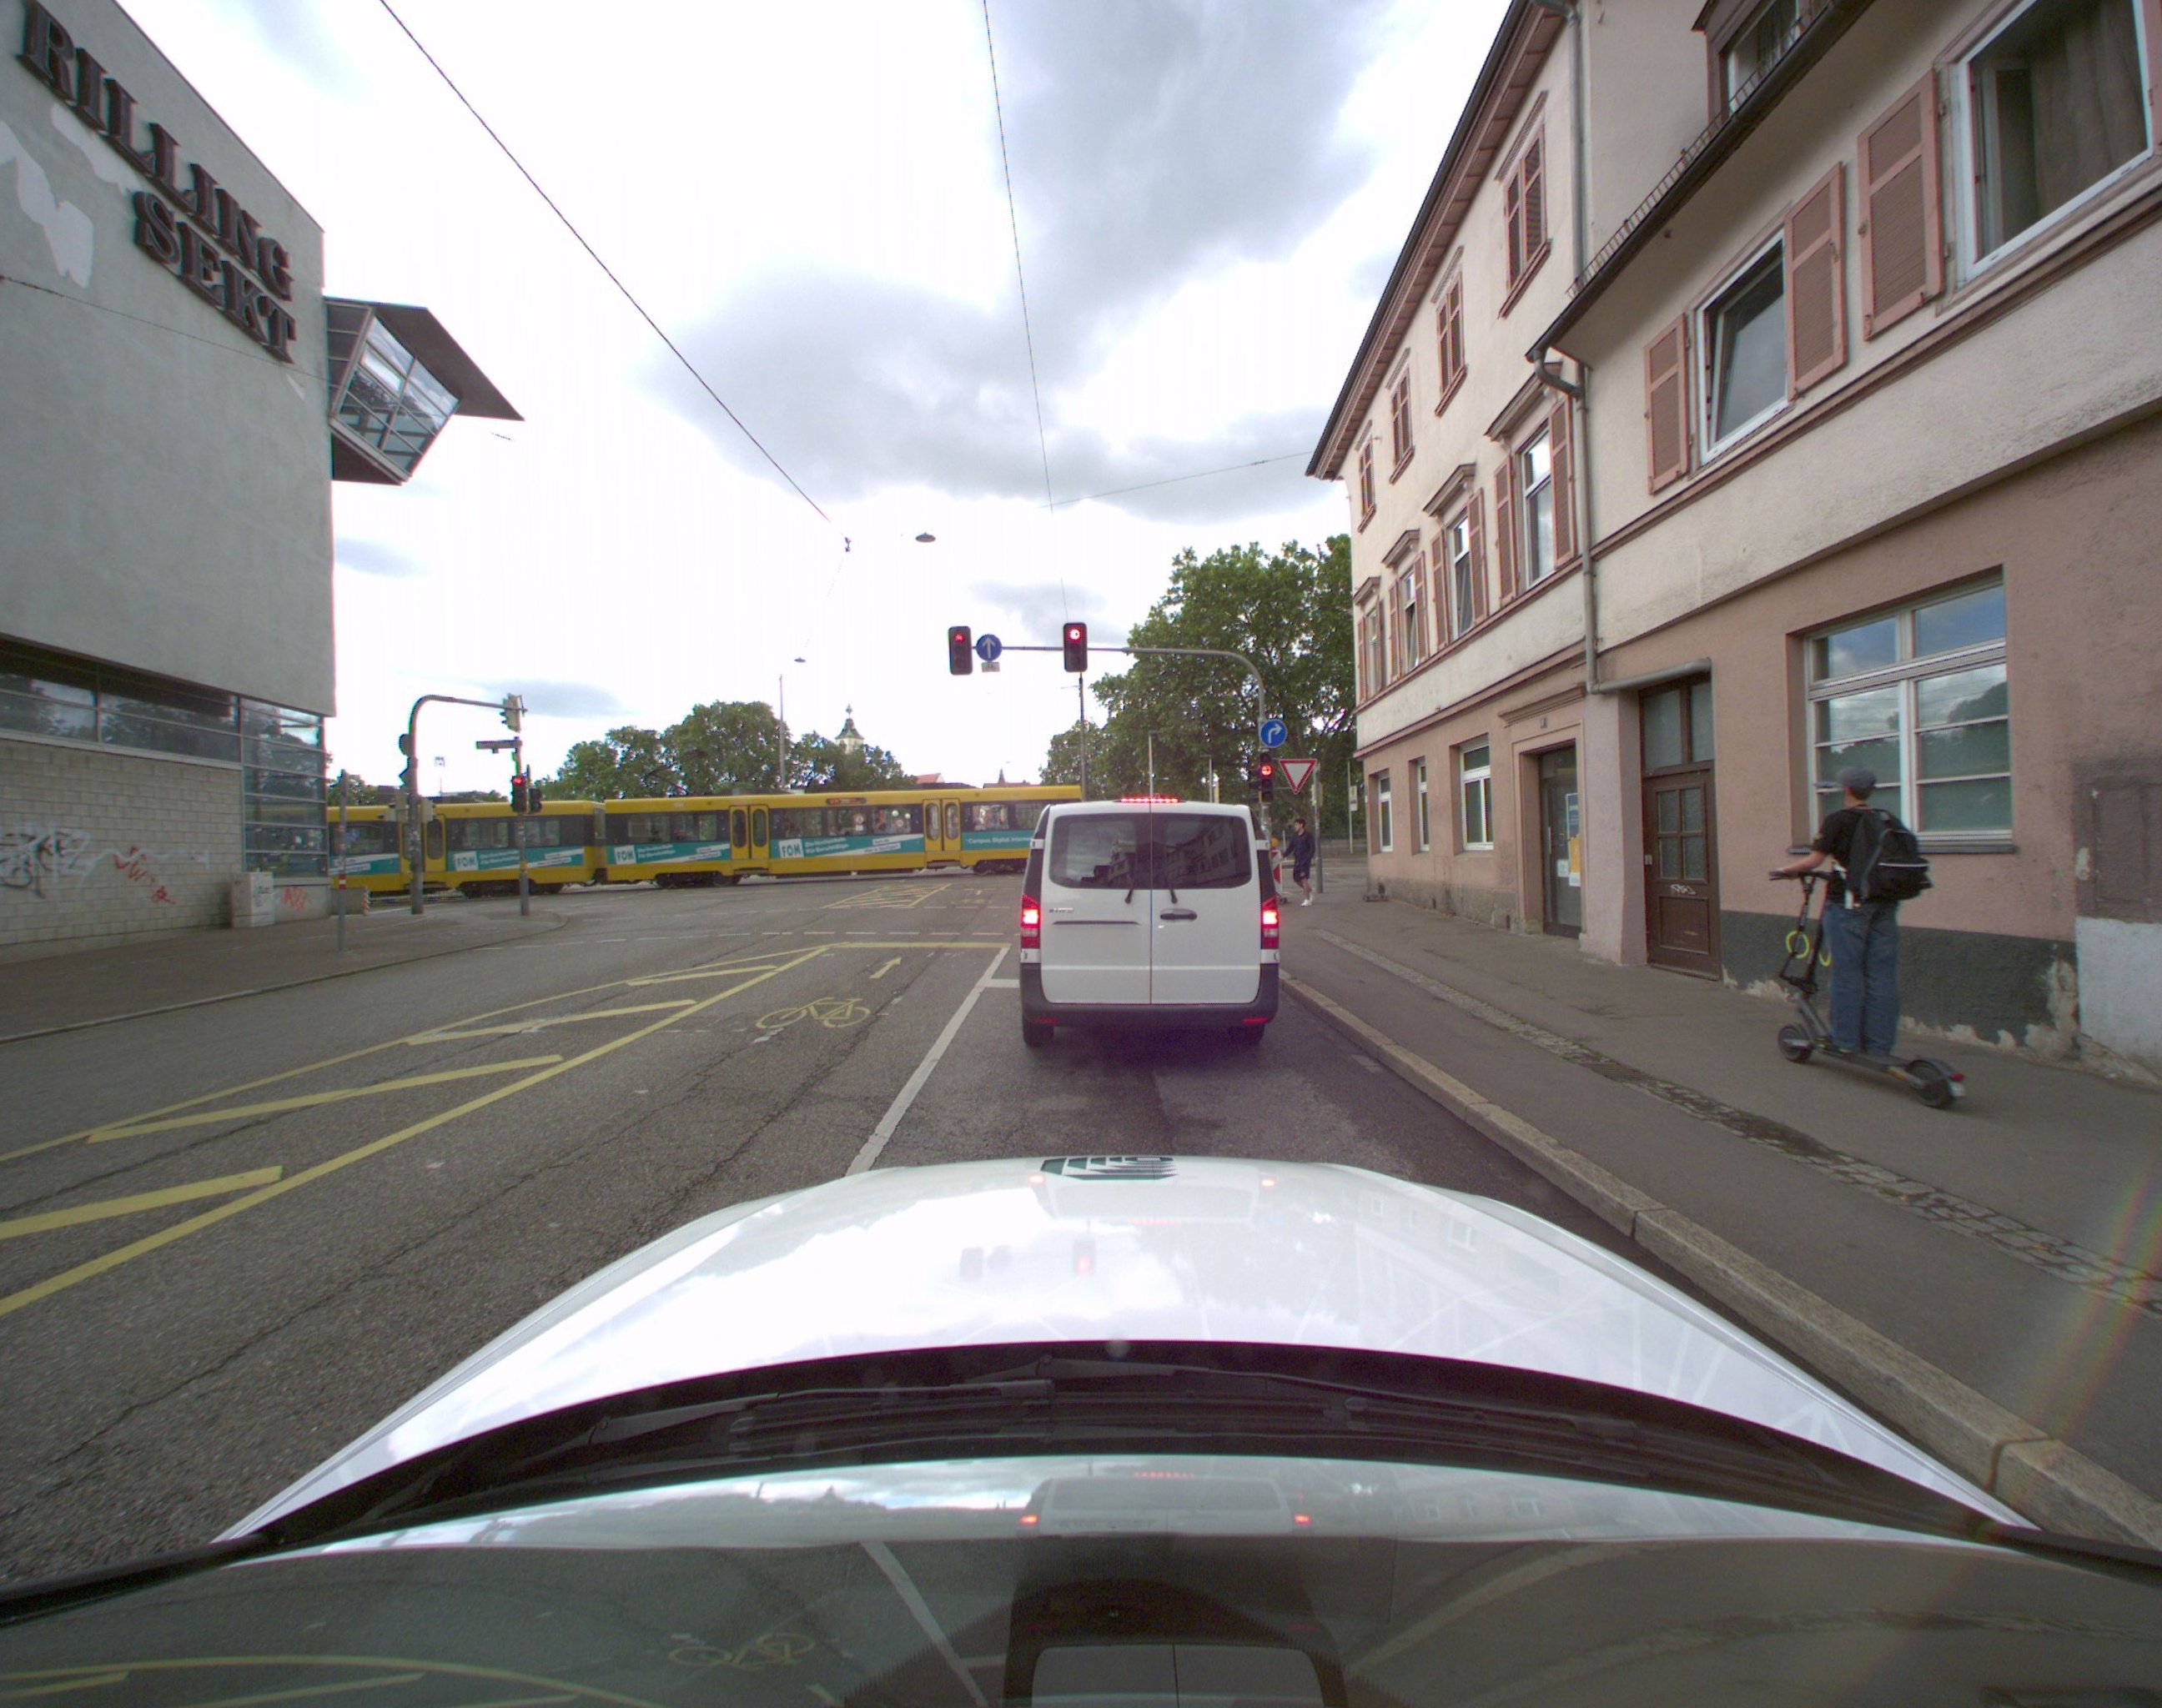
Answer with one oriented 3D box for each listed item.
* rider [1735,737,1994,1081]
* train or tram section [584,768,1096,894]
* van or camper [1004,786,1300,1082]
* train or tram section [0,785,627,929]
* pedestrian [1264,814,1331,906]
[{"bbox_3d":[4.580,0.299,4.828,0.715,1.847,0.798,-2,0,1],"label":"rider"},{"bbox_3d":[-8.948,-1.035,32.689,18.759,4.002,3.257,-3,2,-8],"label":"train or tram section"},{"bbox_3d":[0.432,0.449,7.549,1.932,1.924,4.439,0,2,-1],"label":"van or camper"},{"bbox_3d":[-27.522,-0.069,29.134,19.248,4.002,3.295,-3,3,-13],"label":"train or tram section"},{"bbox_3d":[4.591,0.111,17.263,1.157,1.856,0.672,-3,1,-32],"label":"pedestrian"}]
